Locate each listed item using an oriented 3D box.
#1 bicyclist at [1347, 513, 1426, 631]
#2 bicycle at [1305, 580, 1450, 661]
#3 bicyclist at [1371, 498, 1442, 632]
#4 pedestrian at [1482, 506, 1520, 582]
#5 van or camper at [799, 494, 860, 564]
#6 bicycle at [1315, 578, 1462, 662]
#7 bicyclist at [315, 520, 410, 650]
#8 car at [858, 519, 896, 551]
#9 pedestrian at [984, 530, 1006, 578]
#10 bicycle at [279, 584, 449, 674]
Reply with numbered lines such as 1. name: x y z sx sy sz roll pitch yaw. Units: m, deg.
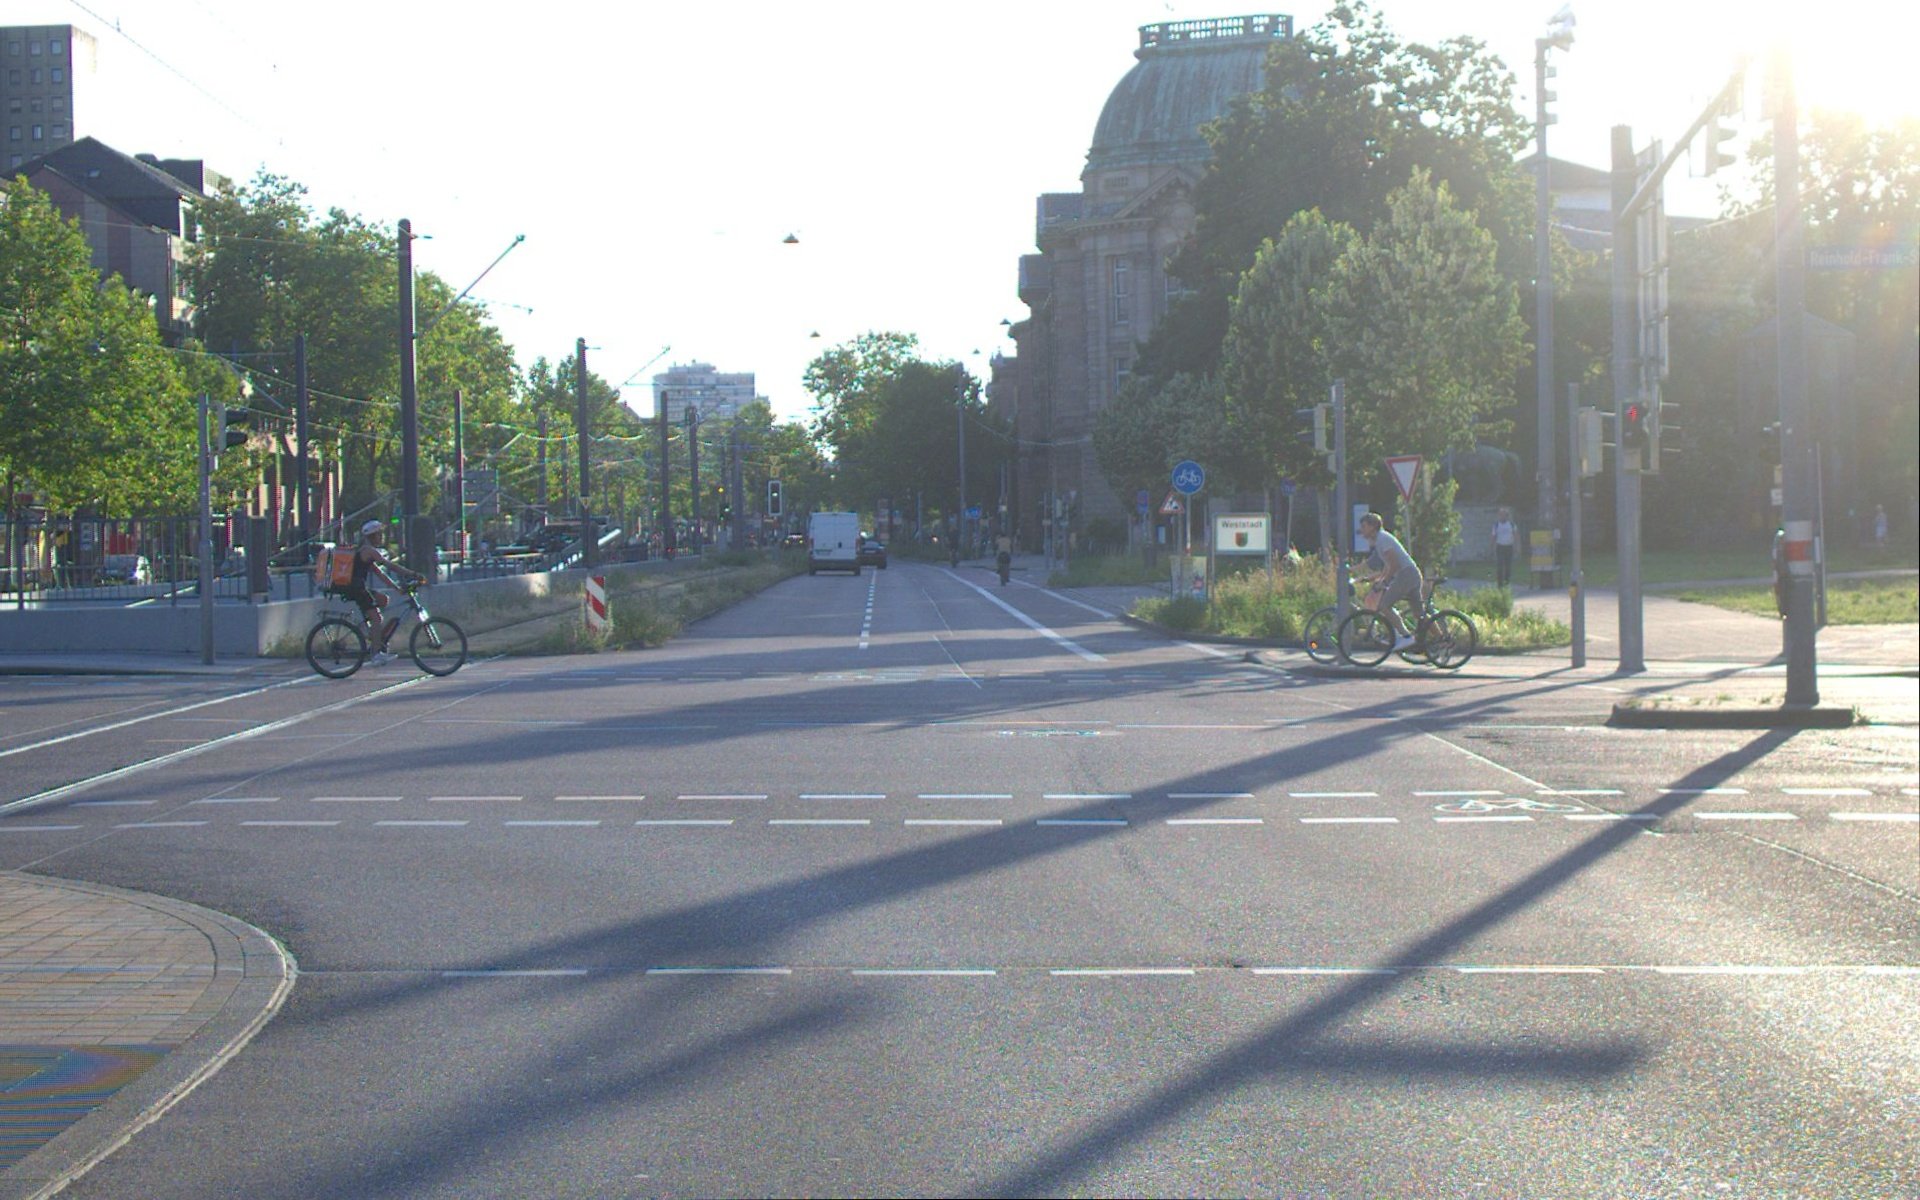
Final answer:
1. bicyclist: 5.335 -0.354 43.008 0.853 1.437 0.663 -1 2 -3
2. bicycle: 5.224 0.249 43.031 1.718 0.966 0.609 0 2 -4
3. bicyclist: 5.326 -0.422 40.971 0.798 1.566 0.663 -1 2 9
4. pedestrian: 11.654 -1.207 74.086 0.682 1.605 0.613 -1 2 -1
5. van or camper: -5.187 -2.850 137.016 2.263 2.616 4.503 -1 2 0
6. bicycle: 5.115 0.231 41.029 1.729 0.966 0.609 0 2 9
7. bicyclist: -6.746 -0.178 38.822 0.853 1.437 0.663 0 2 -31
8. car: -3.956 -3.098 163.988 1.737 1.381 4.001 -1 2 -1
9. pedestrian: 1.100 -1.443 107.575 0.616 1.470 0.800 -1 2 3
10. bicycle: -6.731 0.325 38.846 1.728 0.966 0.704 0 3 -32
